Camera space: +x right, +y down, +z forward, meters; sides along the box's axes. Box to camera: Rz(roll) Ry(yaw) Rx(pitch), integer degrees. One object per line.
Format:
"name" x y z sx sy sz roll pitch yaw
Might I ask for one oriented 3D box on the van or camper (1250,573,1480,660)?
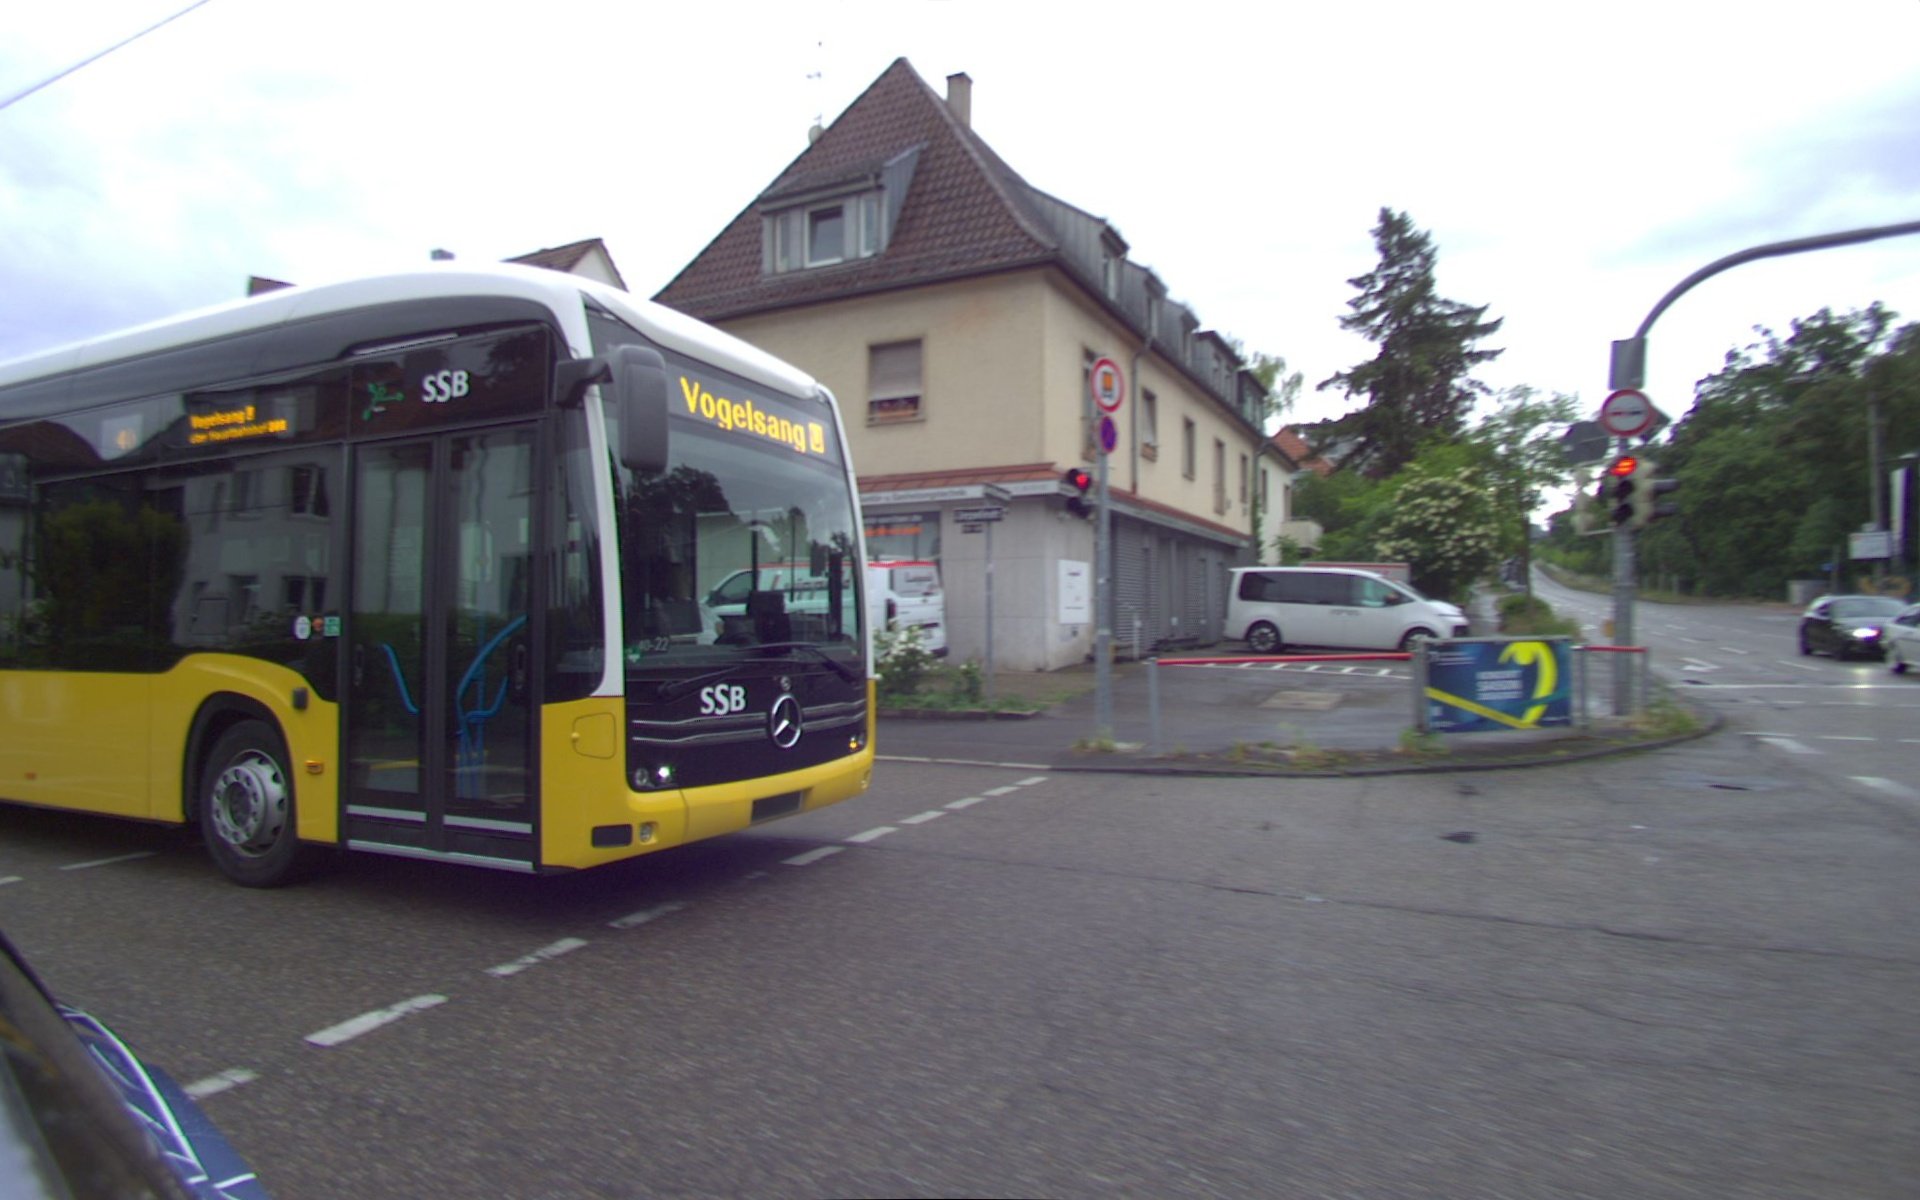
"van or camper" 10.188 0.429 25.606 5.161 2.029 1.980 -1 0 30

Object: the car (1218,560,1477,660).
"car" 8.626 0.252 22.664 5.160 2.029 1.980 -1 0 30

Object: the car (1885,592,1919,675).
"car" 16.862 0.575 16.399 1.817 1.364 3.962 -1 1 28

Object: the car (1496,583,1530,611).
"car" 38.872 -0.221 71.151 1.995 1.895 3.962 -1 1 28

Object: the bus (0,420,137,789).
"bus" -12.838 0.155 11.156 8.638 3.424 2.660 -2 -2 28

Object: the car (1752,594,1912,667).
"car" 18.904 0.609 22.141 1.817 1.364 3.962 -1 1 28

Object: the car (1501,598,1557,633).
"car" 24.734 0.654 44.099 1.995 1.364 3.962 -1 1 28

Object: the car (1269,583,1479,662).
"car" 11.416 0.617 28.026 5.161 2.029 1.980 -1 0 30

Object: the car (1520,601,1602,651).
"car" 18.584 0.768 31.441 1.995 1.364 3.962 -1 1 28

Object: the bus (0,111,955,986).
"bus" -4.710 -0.071 7.202 8.989 3.424 2.884 -2 -2 25
